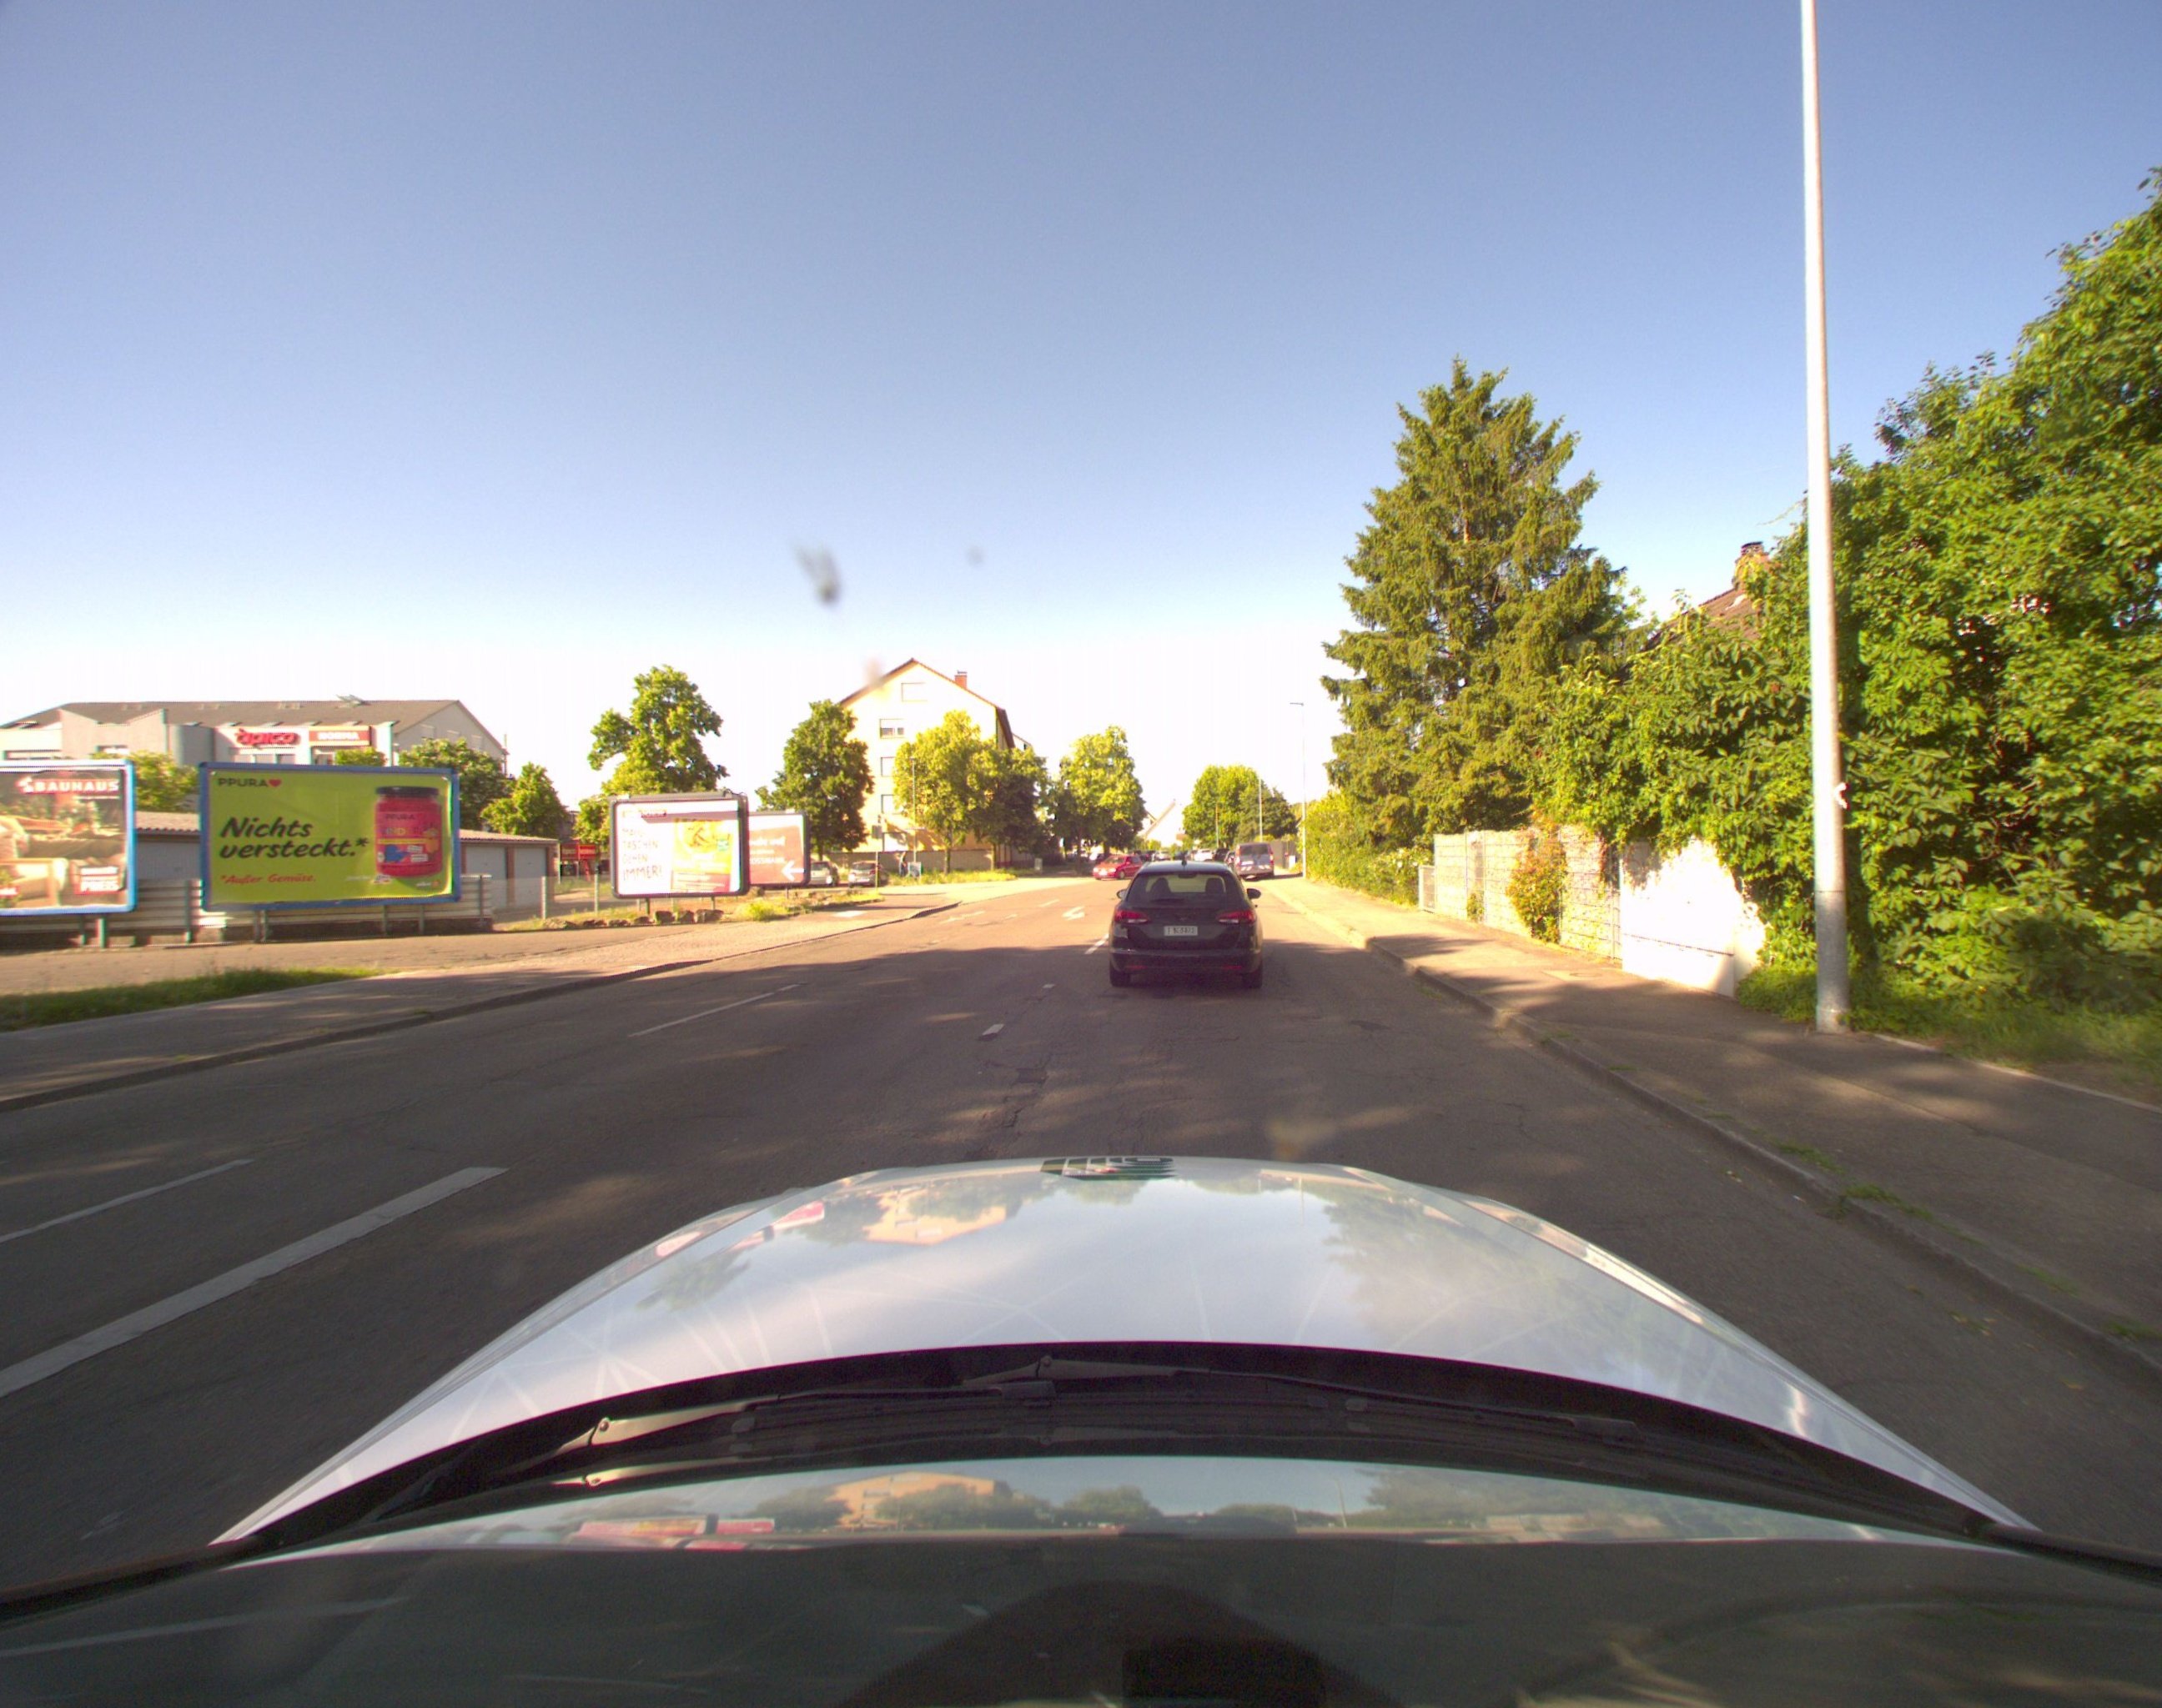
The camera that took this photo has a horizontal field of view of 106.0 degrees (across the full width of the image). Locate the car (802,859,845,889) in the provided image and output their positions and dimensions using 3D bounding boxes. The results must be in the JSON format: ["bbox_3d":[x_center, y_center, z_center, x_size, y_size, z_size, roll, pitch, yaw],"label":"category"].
[{"bbox_3d":[-15.051,1.133,47.722,1.696,1.622,3.872,-2,1,-7],"label":"car"}]

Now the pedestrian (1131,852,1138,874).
[{"bbox_3d":[4.329,0.735,66.220,0.502,1.761,0.696,-2,-2,5],"label":"pedestrian"}]

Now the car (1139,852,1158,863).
[{"bbox_3d":[9.926,0.539,120.333,1.819,1.534,4.246,-2,-1,-8],"label":"car"}]

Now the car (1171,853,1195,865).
[{"bbox_3d":[13.242,0.718,105.703,2.004,1.475,4.283,-2,-1,-8],"label":"car"}]

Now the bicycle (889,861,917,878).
[{"bbox_3d":[-11.111,0.947,50.858,1.624,1.011,0.403,-1,-2,-24],"label":"bicycle"}]

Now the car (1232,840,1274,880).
[{"bbox_3d":[8.787,0.288,41.911,1.826,1.907,4.710,-1,0,9],"label":"car"}]

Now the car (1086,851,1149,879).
[{"bbox_3d":[2.245,0.615,48.584,1.993,1.568,4.420,0,1,29],"label":"car"}]

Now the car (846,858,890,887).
[{"bbox_3d":[-12.181,1.036,46.720,1.726,1.464,3.875,-2,1,-4],"label":"car"}]

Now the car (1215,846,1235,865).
[{"bbox_3d":[13.999,0.140,79.468,1.767,1.724,4.304,-2,-1,9],"label":"car"}]

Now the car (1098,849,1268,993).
[{"bbox_3d":[1.355,0.713,10.660,1.752,1.491,4.300,-1,0,8],"label":"car"}]

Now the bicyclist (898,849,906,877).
[{"bbox_3d":[-11.204,0.569,50.844,0.390,1.686,0.379,-1,-2,-23],"label":"bicyclist"}]

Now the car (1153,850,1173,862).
[{"bbox_3d":[11.556,0.297,114.998,1.819,1.534,4.246,-2,-1,-8],"label":"car"}]

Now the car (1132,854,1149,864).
[{"bbox_3d":[9.169,0.755,125.801,1.819,1.534,4.246,-2,-1,-8],"label":"car"}]

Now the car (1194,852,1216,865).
[{"bbox_3d":[14.464,0.562,95.343,1.756,1.480,4.291,-2,-1,-2],"label":"car"}]

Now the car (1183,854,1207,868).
[{"bbox_3d":[13.974,0.869,100.109,1.909,1.600,4.284,-2,-1,-6],"label":"car"}]

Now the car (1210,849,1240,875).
[{"bbox_3d":[9.287,0.473,52.876,1.755,1.480,5.004,-3,0,9],"label":"car"}]
